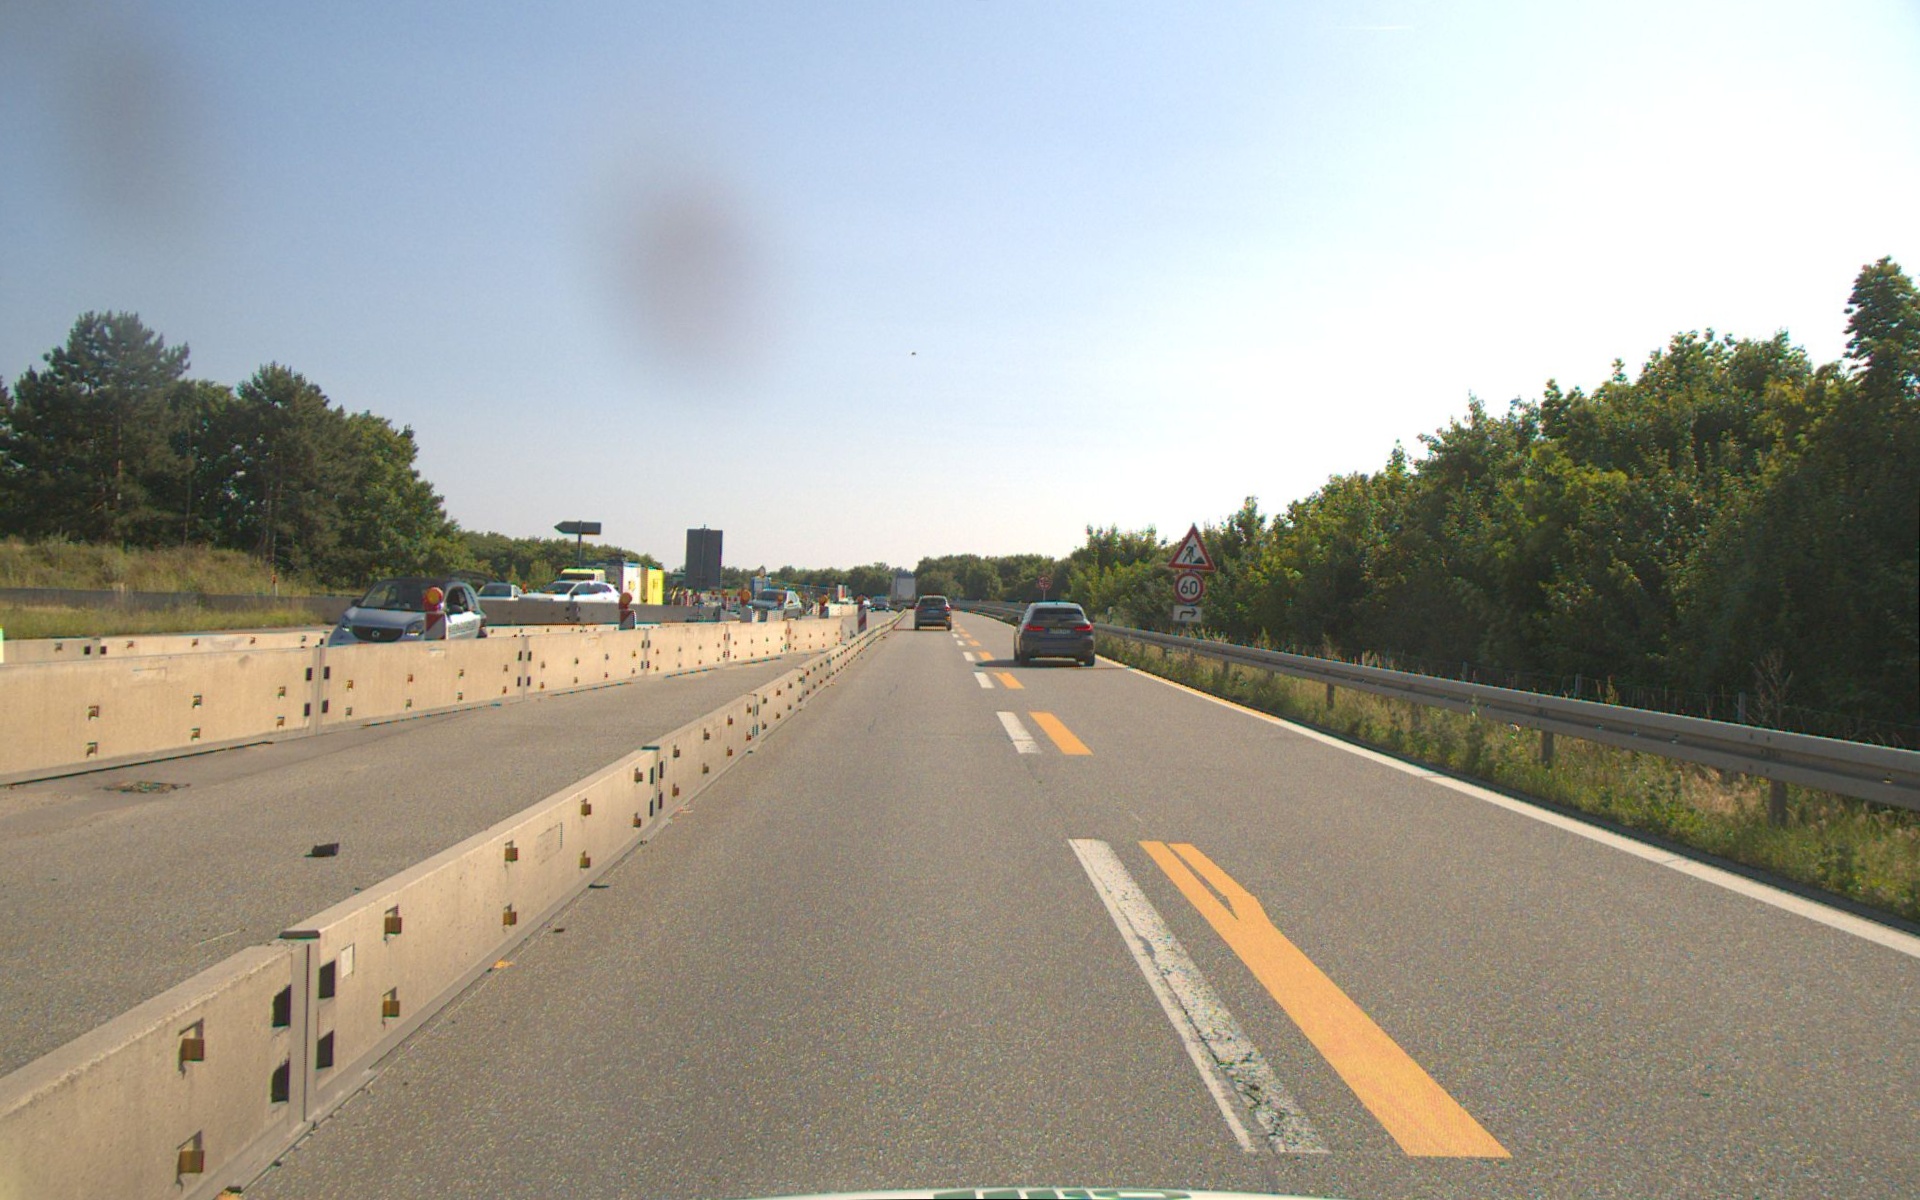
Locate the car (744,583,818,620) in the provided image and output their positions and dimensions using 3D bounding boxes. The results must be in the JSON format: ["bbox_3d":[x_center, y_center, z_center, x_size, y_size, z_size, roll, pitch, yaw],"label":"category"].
[{"bbox_3d":[-8.523,0.103,79.096,1.951,1.650,4.852,2,0,13],"label":"car"}]

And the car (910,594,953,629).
[{"bbox_3d":[-1.316,0.517,78.472,1.953,1.594,4.000,1,0,0],"label":"car"}]

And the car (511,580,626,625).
[{"bbox_3d":[-14.769,0.095,62.571,1.919,1.581,3.990,2,0,32],"label":"car"}]

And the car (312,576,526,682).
[{"bbox_3d":[-8.620,0.431,26.745,1.675,1.542,4.181,2,0,6],"label":"car"}]

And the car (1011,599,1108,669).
[{"bbox_3d":[2.320,0.770,39.502,1.882,1.520,3.998,2,0,-2],"label":"car"}]

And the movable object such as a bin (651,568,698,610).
[{"bbox_3d":[-19.508,-0.748,113.211,1.989,2.763,5.110,1,0,4],"label":"movable object such as a bin"}]

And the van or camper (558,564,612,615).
[{"bbox_3d":[-19.099,-0.536,84.532,1.955,2.419,6.192,2,0,-7],"label":"van or camper"}]

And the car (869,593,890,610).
[{"bbox_3d":[-7.822,0.141,160.527,1.821,1.499,4.683,2,0,-1],"label":"car"}]

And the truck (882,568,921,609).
[{"bbox_3d":[-7.829,-1.506,218.017,3.690,4.997,14.113,2,0,-7],"label":"truck"}]
